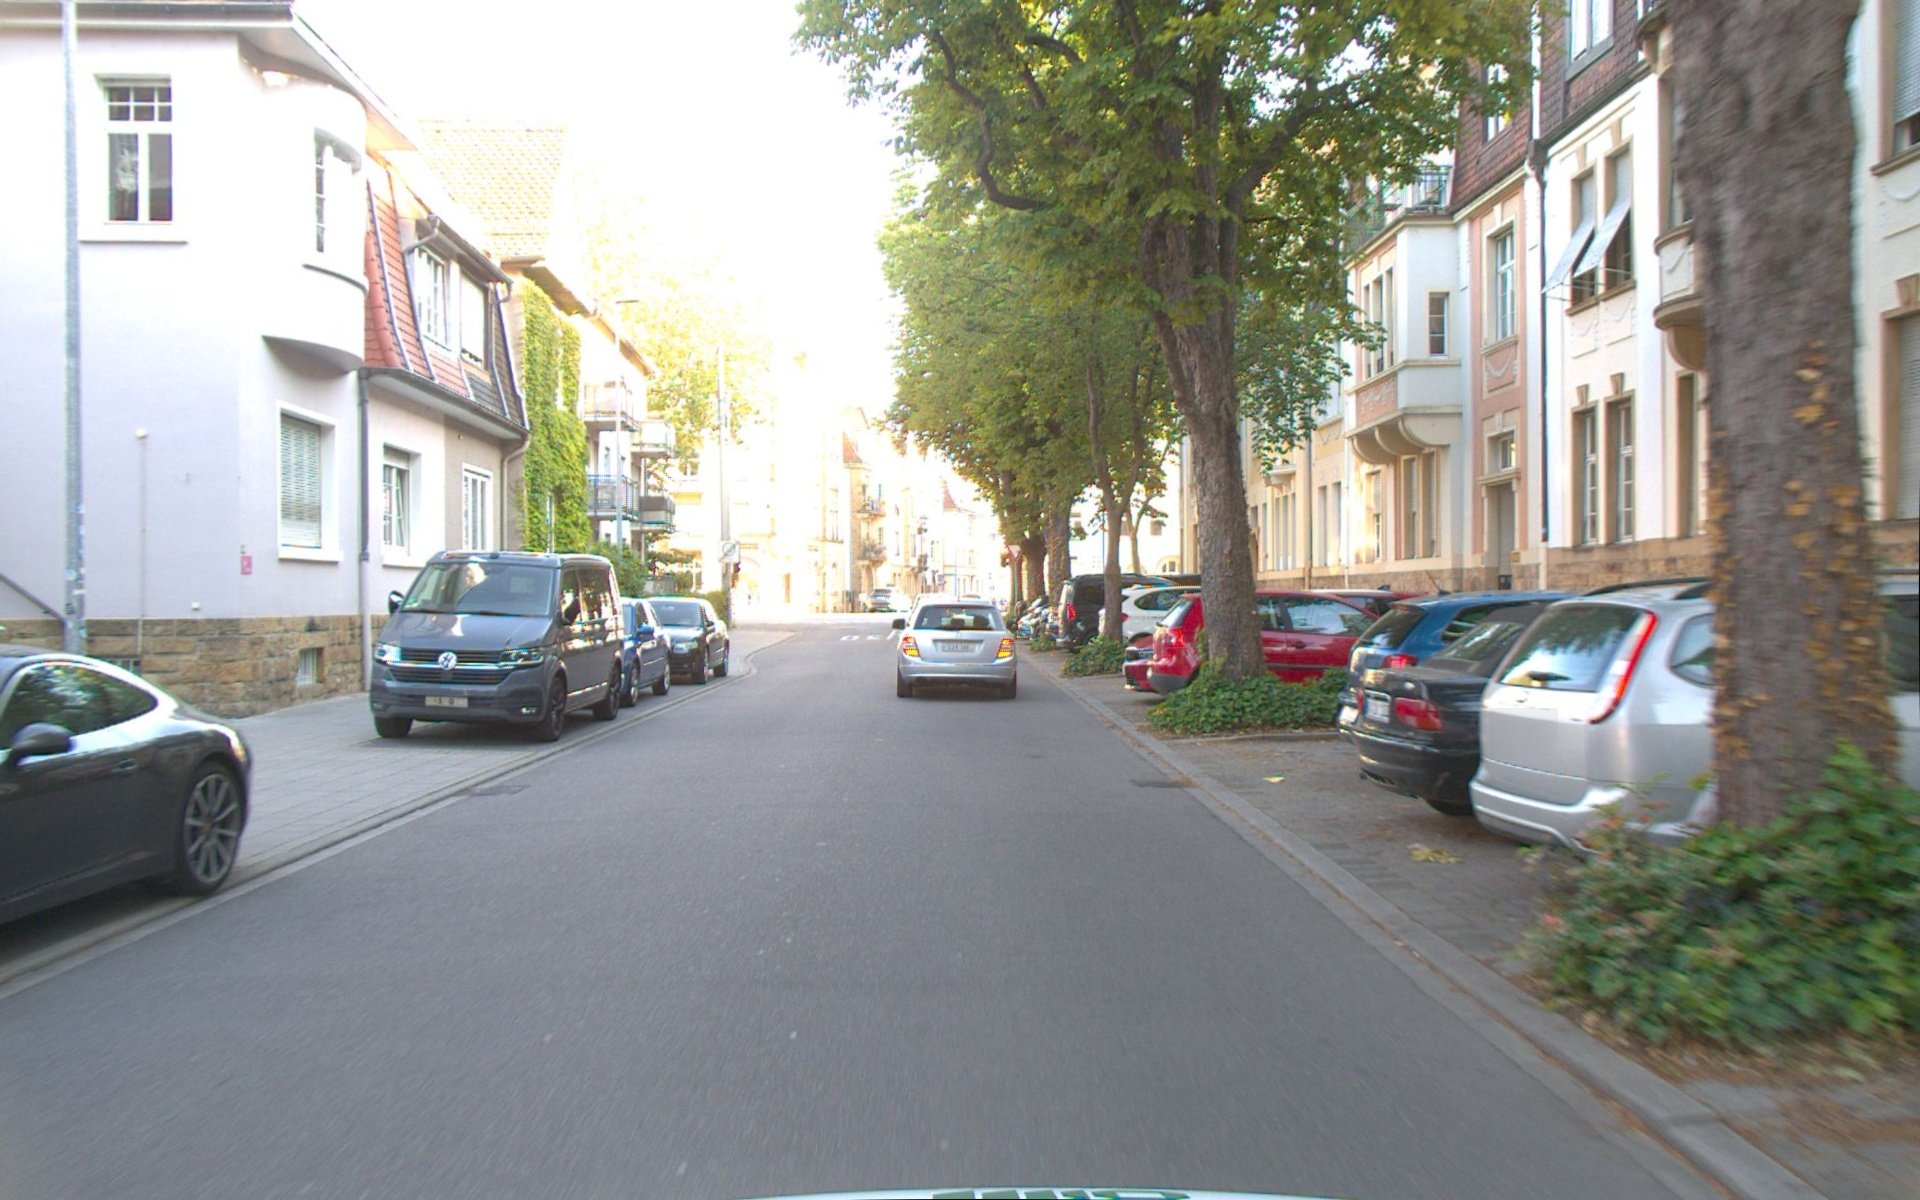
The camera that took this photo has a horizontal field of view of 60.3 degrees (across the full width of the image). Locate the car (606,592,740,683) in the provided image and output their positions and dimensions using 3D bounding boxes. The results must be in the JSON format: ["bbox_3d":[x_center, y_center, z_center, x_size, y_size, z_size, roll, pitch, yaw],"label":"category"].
[{"bbox_3d":[-5.068,0.609,29.687,1.660,1.472,4.357,1,0,-1],"label":"car"}]

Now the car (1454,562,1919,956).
[{"bbox_3d":[4.630,0.637,7.823,4.067,1.604,1.710,0,0,-6],"label":"car"}]

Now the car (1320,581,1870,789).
[{"bbox_3d":[4.840,0.627,12.959,3.715,1.509,1.561,0,0,1],"label":"car"}]

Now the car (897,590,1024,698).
[{"bbox_3d":[0.005,0.617,24.772,1.747,1.462,3.850,1,0,0],"label":"car"}]

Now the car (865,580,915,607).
[{"bbox_3d":[-4.300,-0.412,102.197,1.951,1.612,4.003,0,1,15],"label":"car"}]

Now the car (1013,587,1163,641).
[{"bbox_3d":[3.771,0.392,49.027,4.203,1.442,1.876,-2,1,-3],"label":"car"}]

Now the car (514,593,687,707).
[{"bbox_3d":[-5.171,0.668,24.304,1.620,1.472,4.237,1,0,-1],"label":"car"}]

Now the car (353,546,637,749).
[{"bbox_3d":[-5.073,0.446,18.803,1.942,1.981,4.850,1,0,-2],"label":"car"}]

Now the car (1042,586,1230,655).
[{"bbox_3d":[4.146,0.466,39.324,4.202,1.568,1.876,0,1,-3],"label":"car"}]

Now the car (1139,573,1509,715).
[{"bbox_3d":[4.346,0.512,20.255,4.103,1.501,1.852,-2,0,1],"label":"car"}]

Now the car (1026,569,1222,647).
[{"bbox_3d":[4.332,0.193,44.111,4.952,2.024,2.071,0,0,-3],"label":"car"}]

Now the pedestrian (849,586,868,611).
[{"bbox_3d":[-7.335,-0.099,119.910,1.195,1.752,1.504,1,0,2],"label":"pedestrian"}]

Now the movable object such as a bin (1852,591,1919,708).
[{"bbox_3d":[9.153,0.470,16.015,0.686,1.067,0.541,-4,0,-2],"label":"movable object such as a bin"}]

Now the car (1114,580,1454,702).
[{"bbox_3d":[4.381,0.545,22.855,4.320,1.444,1.877,-2,0,1],"label":"car"}]

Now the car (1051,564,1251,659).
[{"bbox_3d":[4.195,0.253,36.848,4.135,1.929,1.904,-2,0,-3],"label":"car"}]

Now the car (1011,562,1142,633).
[{"bbox_3d":[3.975,-0.100,56.947,4.301,2.405,1.999,0,0,-3],"label":"car"}]

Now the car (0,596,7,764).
[{"bbox_3d":[-10.236,0.718,13.602,3.787,1.468,1.633,0,1,-5],"label":"car"}]

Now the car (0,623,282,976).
[{"bbox_3d":[-4.616,0.837,7.176,1.499,1.342,4.228,0,1,2],"label":"car"}]

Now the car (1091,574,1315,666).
[{"bbox_3d":[4.652,0.381,32.121,4.027,1.599,1.876,-2,0,-1],"label":"car"}]

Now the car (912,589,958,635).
[{"bbox_3d":[-0.891,0.408,60.326,1.590,1.597,3.680,0,1,0],"label":"car"}]

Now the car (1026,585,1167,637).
[{"bbox_3d":[4.220,0.316,51.554,4.202,1.568,1.898,0,1,-3],"label":"car"}]

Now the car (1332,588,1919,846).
[{"bbox_3d":[4.419,0.666,10.440,3.716,1.463,1.817,0,0,-1],"label":"car"}]
